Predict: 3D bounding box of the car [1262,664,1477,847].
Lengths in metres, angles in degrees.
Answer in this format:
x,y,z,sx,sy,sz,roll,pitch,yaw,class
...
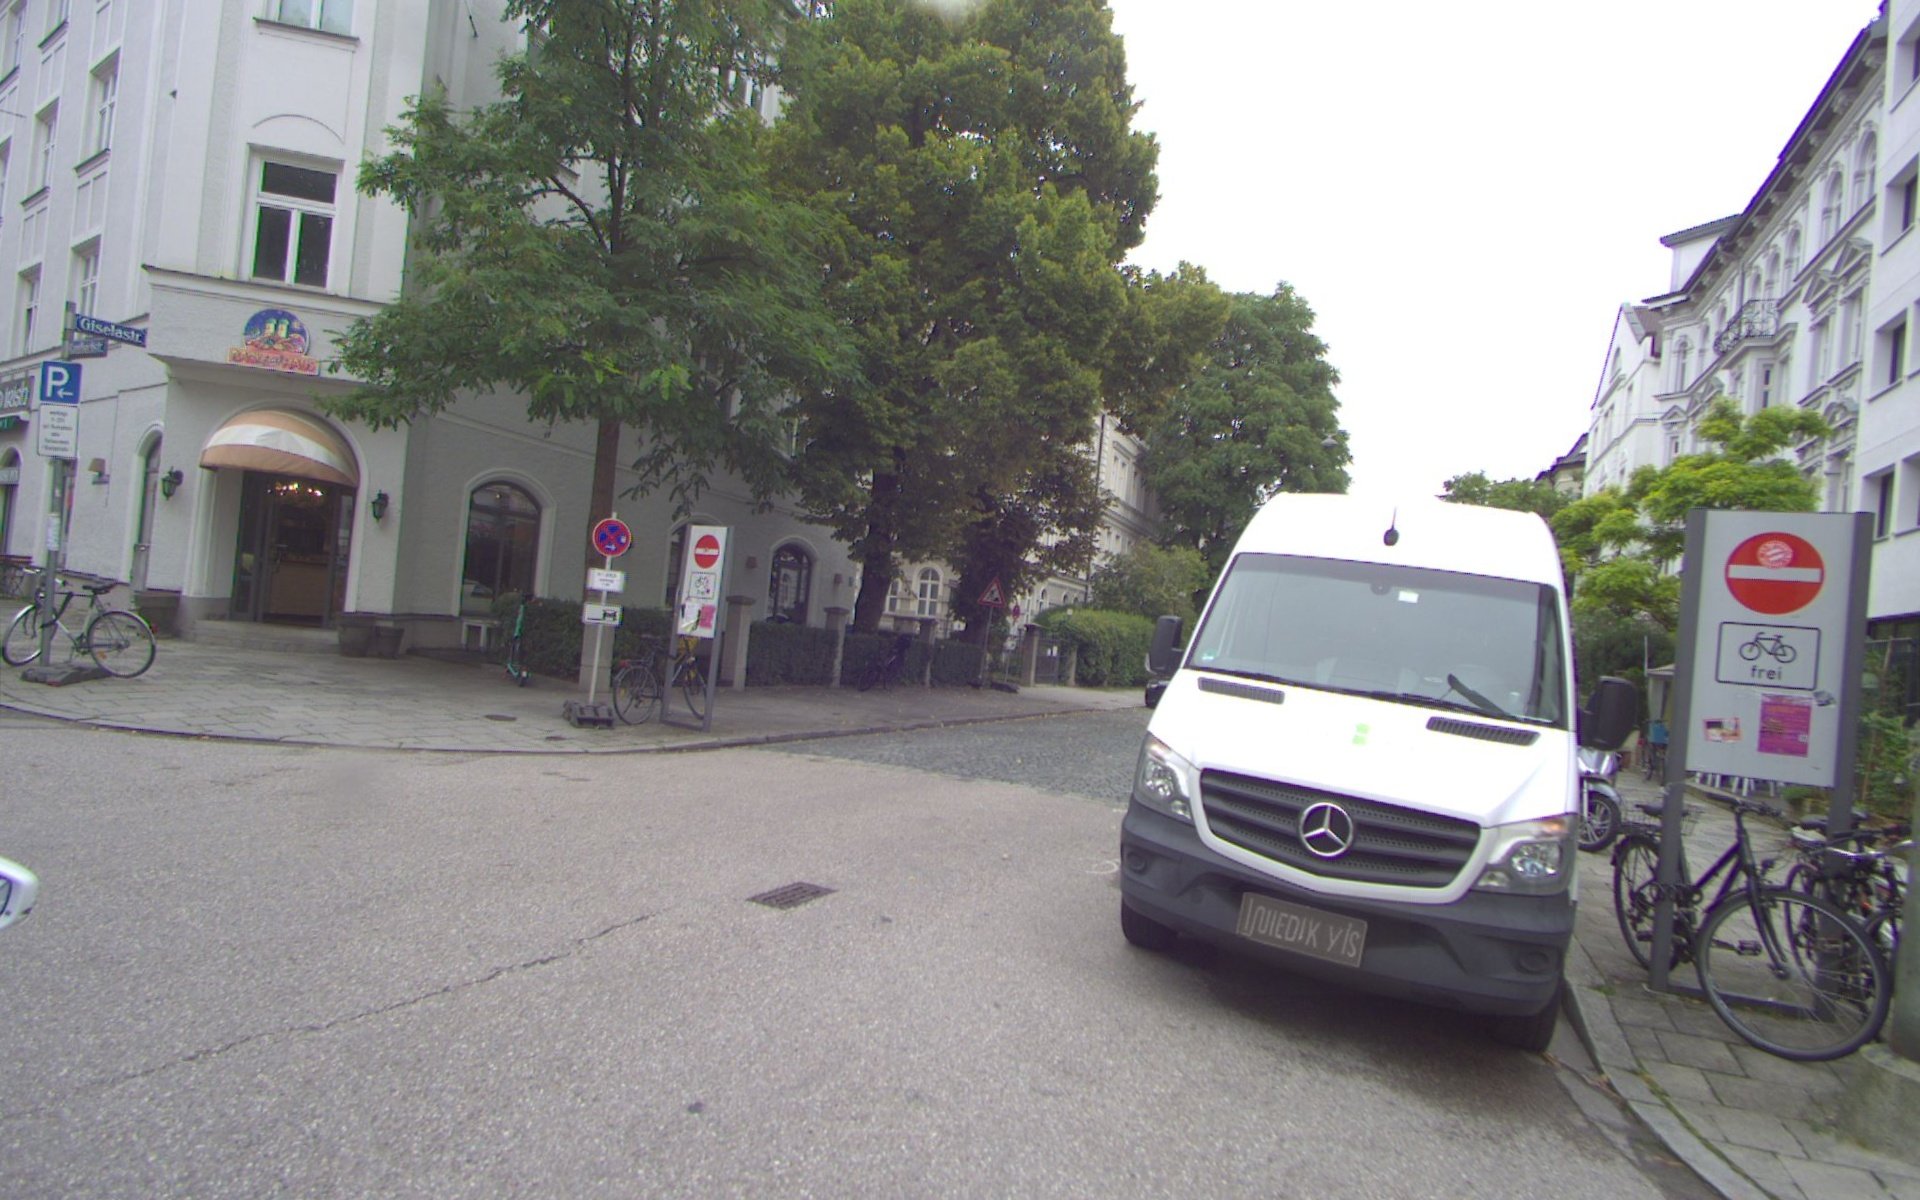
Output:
x,y,z,sx,sy,sz,roll,pitch,yaw,class
4.697,1.619,11.596,1.763,1.465,4.000,8,-1,23,car

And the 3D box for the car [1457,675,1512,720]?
x,y,z,sx,sy,sz,roll,pitch,yaw,class
25.515,4.719,49.033,1.964,1.837,3.999,5,-2,24,car

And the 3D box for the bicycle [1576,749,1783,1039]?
x,y,z,sx,sy,sz,roll,pitch,yaw,class
3.561,1.375,5.089,0.363,1.084,1.508,6,-1,20,bicycle

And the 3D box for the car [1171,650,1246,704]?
x,y,z,sx,sy,sz,roll,pitch,yaw,class
8.600,2.648,34.571,1.779,1.636,3.999,3,-3,24,car

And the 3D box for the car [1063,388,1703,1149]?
x,y,z,sx,sy,sz,roll,pitch,yaw,class
2.739,0.710,6.596,2.023,2.622,5.910,7,-1,25,car

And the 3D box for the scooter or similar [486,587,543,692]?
x,y,z,sx,sy,sz,roll,pitch,yaw,class
-6.132,0.520,13.820,0.424,1.294,1.268,7,0,-31,scooter or similar

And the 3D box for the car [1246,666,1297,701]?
x,y,z,sx,sy,sz,roll,pitch,yaw,class
14.398,3.849,46.411,1.696,1.384,3.999,3,-3,25,car

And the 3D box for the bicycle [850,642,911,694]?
x,y,z,sx,sy,sz,roll,pitch,yaw,class
-1.620,1.419,20.780,0.423,0.959,1.460,9,-1,28,bicycle

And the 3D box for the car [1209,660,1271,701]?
x,y,z,sx,sy,sz,roll,pitch,yaw,class
11.415,3.268,40.837,1.779,1.455,3.999,3,-3,24,car

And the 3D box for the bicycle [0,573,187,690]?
x,y,z,sx,sy,sz,roll,pitch,yaw,class
-9.061,0.312,10.481,1.722,1.012,0.540,6,3,10,bicycle

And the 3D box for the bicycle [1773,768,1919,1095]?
x,y,z,sx,sy,sz,roll,pitch,yaw,class
4.427,1.453,4.593,0.581,1.141,1.907,5,-2,25,bicycle

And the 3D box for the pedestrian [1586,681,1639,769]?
x,y,z,sx,sy,sz,roll,pitch,yaw,class
13.756,2.633,21.202,0.716,1.736,0.685,5,-1,42,pedestrian

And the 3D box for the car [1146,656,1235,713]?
x,y,z,sx,sy,sz,roll,pitch,yaw,class
7.001,2.535,30.276,1.780,1.455,4.056,3,-3,25,car

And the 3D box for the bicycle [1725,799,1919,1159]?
x,y,z,sx,sy,sz,roll,pitch,yaw,class
3.651,1.504,4.277,0.334,1.141,1.181,5,-1,27,bicycle

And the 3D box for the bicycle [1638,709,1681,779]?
x,y,z,sx,sy,sz,roll,pitch,yaw,class
12.616,2.579,18.171,0.465,1.141,1.413,5,-1,31,bicycle

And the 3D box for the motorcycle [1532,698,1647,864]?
x,y,z,sx,sy,sz,roll,pitch,yaw,class
6.359,1.751,10.261,0.647,1.401,2.177,5,-1,26,motorcycle

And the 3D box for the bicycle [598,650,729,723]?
x,y,z,sx,sy,sz,roll,pitch,yaw,class
-3.571,1.050,12.203,0.537,0.793,1.411,5,0,42,bicycle

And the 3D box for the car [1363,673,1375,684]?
x,y,z,sx,sy,sz,roll,pitch,yaw,class
83.451,16.074,205.439,1.964,2.037,4.453,5,-2,24,car

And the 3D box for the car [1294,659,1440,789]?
x,y,z,sx,sy,sz,roll,pitch,yaw,class
6.692,1.915,16.393,1.779,1.587,4.252,7,-1,25,car
